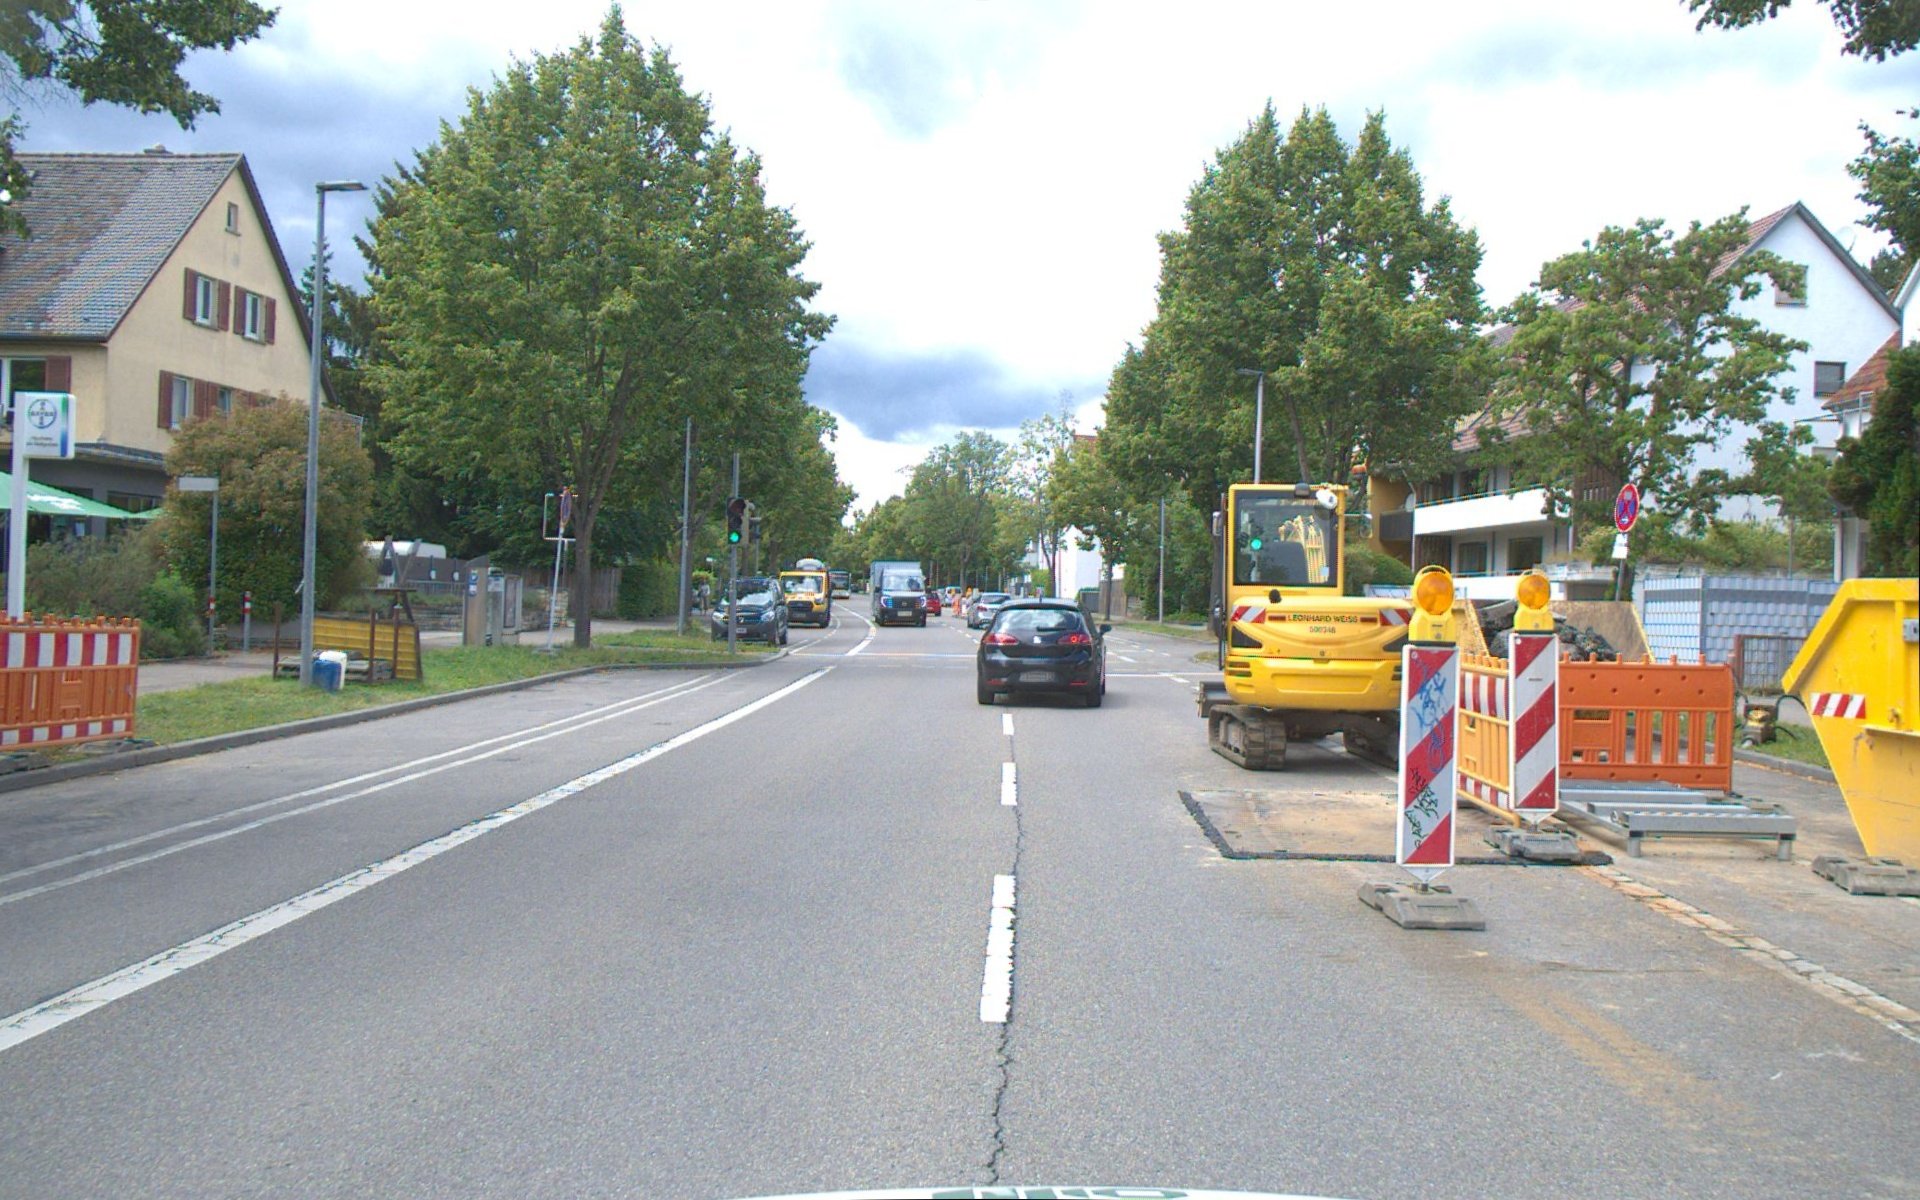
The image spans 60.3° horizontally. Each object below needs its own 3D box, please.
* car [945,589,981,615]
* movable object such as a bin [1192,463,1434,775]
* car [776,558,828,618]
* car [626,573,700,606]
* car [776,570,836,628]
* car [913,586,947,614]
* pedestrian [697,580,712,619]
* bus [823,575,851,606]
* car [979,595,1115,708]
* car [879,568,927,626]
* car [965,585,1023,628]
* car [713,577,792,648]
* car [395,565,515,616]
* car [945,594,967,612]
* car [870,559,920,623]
[{"bbox_3d":[0.141,0.108,98.083,1.775,1.440,3.689,1,0,-5],"label":"car"},{"bbox_3d":[3.264,0.148,15.945,1.731,2.619,3.742,1,0,4],"label":"movable object such as a bin"},{"bbox_3d":[-7.253,-0.552,76.353,2.050,2.672,5.043,1,0,-2],"label":"car"},{"bbox_3d":[-15.591,-0.556,87.021,3.608,1.622,1.678,1,0,-2],"label":"car"},{"bbox_3d":[-6.072,-0.052,65.675,2.050,2.213,5.043,1,0,-2],"label":"car"},{"bbox_3d":[-1.800,-0.006,98.352,1.756,1.651,3.735,0,0,-5],"label":"car"},{"bbox_3d":[-11.649,-0.014,75.447,0.583,1.772,0.574,1,0,-3],"label":"pedestrian"},{"bbox_3d":[-9.138,-0.718,123.393,1.954,2.160,7.354,1,0,-3],"label":"bus"},{"bbox_3d":[1.274,0.669,23.611,1.780,1.463,3.742,0,0,4],"label":"car"},{"bbox_3d":[-2.432,-0.140,71.255,1.988,2.426,5.260,0,0,-1],"label":"car"},{"bbox_3d":[1.367,0.243,67.852,1.869,1.715,3.734,0,0,-7],"label":"car"},{"bbox_3d":[-5.472,0.297,43.965,1.633,1.803,4.466,0,0,-1],"label":"car"},{"bbox_3d":[-18.898,-0.343,61.953,3.902,1.800,1.747,1,0,6],"label":"car"},{"bbox_3d":[-0.291,0.223,139.824,1.773,1.440,3.693,1,0,1],"label":"car"},{"bbox_3d":[-2.978,-0.416,77.442,2.241,2.840,7.141,0,0,-1],"label":"car"}]
